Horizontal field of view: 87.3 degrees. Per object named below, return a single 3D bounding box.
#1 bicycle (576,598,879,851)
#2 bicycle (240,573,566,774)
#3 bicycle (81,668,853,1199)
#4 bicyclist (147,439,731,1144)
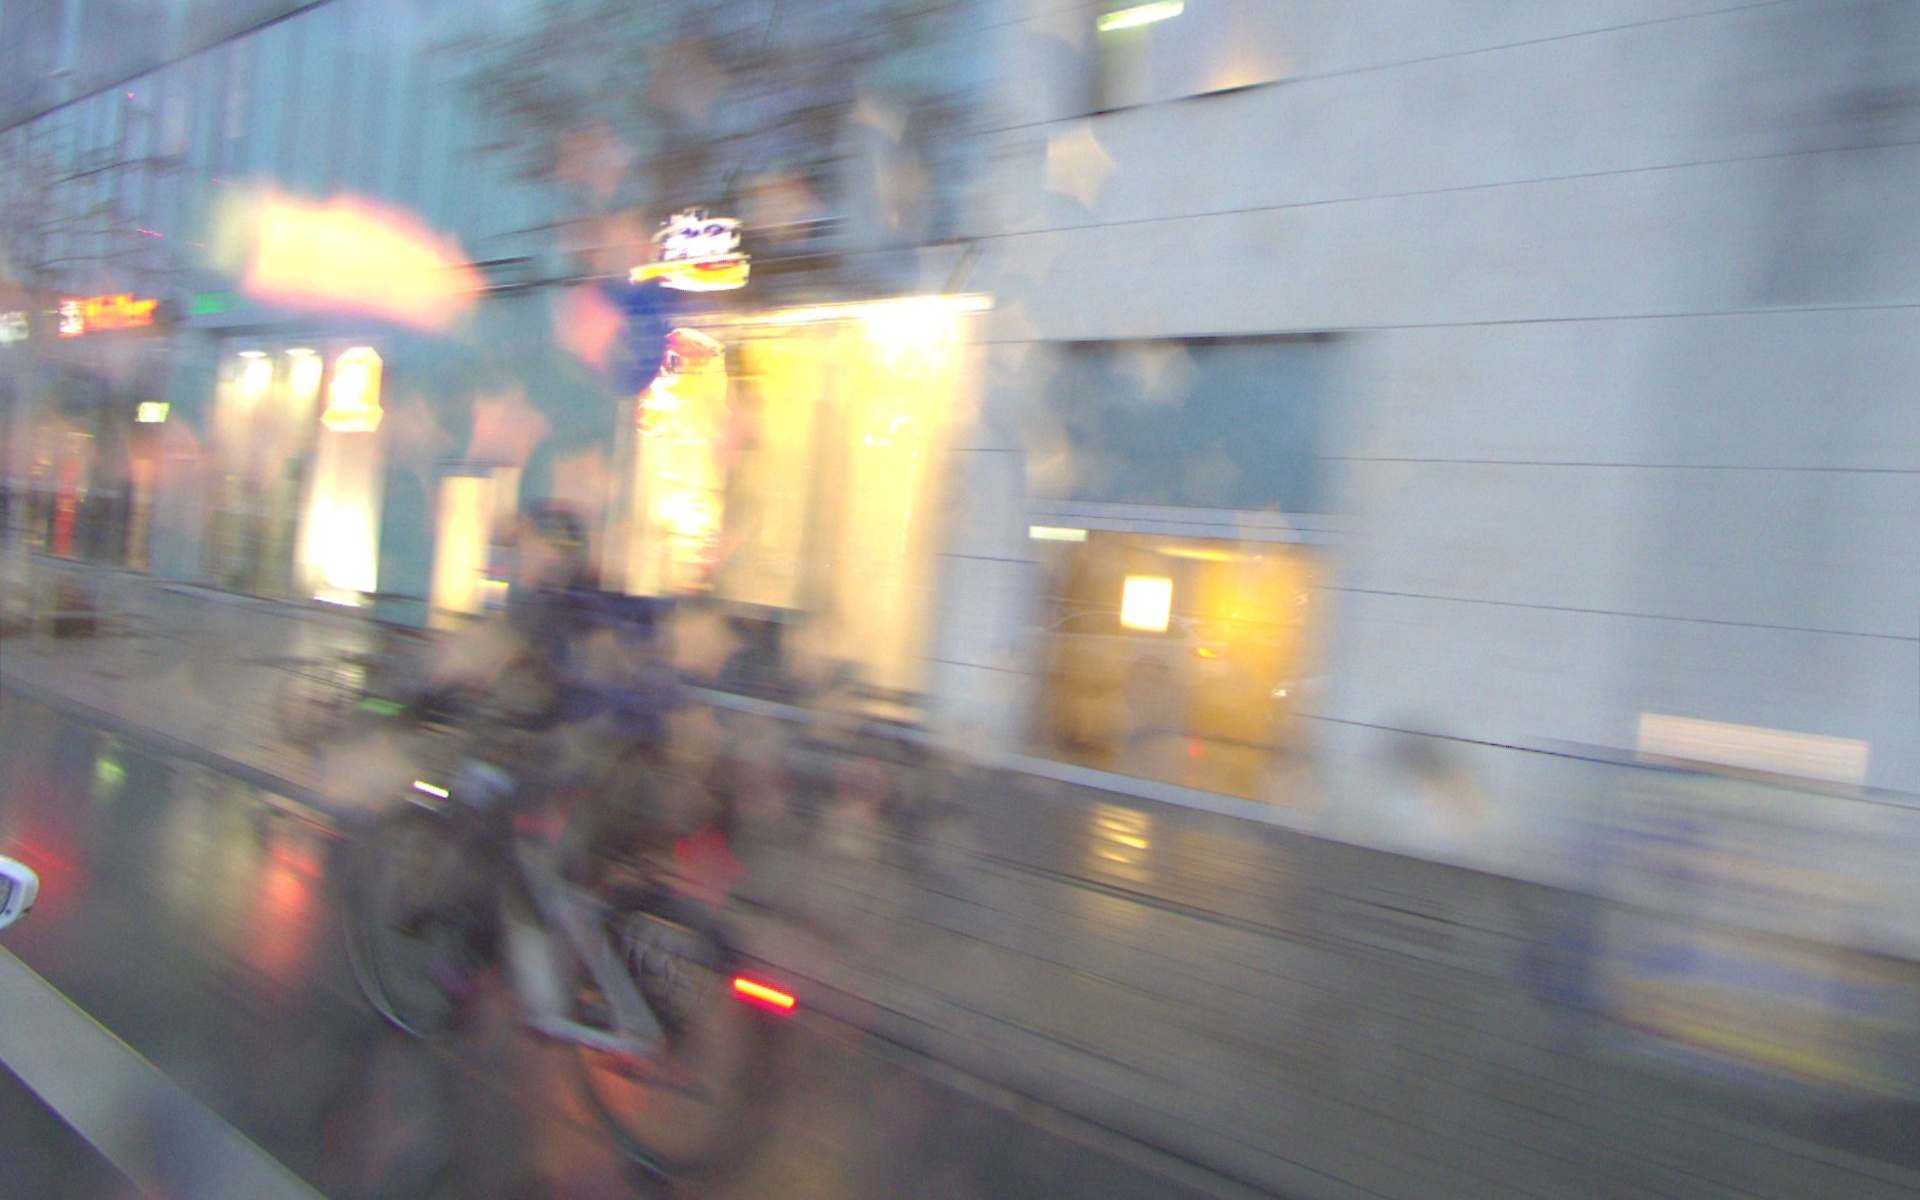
[{"bbox_3d":[-1.348,0.722,5.978,1.534,1.277,0.665,7,0,-12],"label":"bicycle"},{"bbox_3d":[-3.868,0.489,7.175,0.655,1.190,1.905,7,2,30],"label":"bicycle"},{"bbox_3d":[-1.484,0.852,2.816,2.205,1.011,0.943,7,-1,36],"label":"bicycle"},{"bbox_3d":[-1.425,0.395,2.791,1.050,1.481,0.943,7,0,36],"label":"bicyclist"}]
